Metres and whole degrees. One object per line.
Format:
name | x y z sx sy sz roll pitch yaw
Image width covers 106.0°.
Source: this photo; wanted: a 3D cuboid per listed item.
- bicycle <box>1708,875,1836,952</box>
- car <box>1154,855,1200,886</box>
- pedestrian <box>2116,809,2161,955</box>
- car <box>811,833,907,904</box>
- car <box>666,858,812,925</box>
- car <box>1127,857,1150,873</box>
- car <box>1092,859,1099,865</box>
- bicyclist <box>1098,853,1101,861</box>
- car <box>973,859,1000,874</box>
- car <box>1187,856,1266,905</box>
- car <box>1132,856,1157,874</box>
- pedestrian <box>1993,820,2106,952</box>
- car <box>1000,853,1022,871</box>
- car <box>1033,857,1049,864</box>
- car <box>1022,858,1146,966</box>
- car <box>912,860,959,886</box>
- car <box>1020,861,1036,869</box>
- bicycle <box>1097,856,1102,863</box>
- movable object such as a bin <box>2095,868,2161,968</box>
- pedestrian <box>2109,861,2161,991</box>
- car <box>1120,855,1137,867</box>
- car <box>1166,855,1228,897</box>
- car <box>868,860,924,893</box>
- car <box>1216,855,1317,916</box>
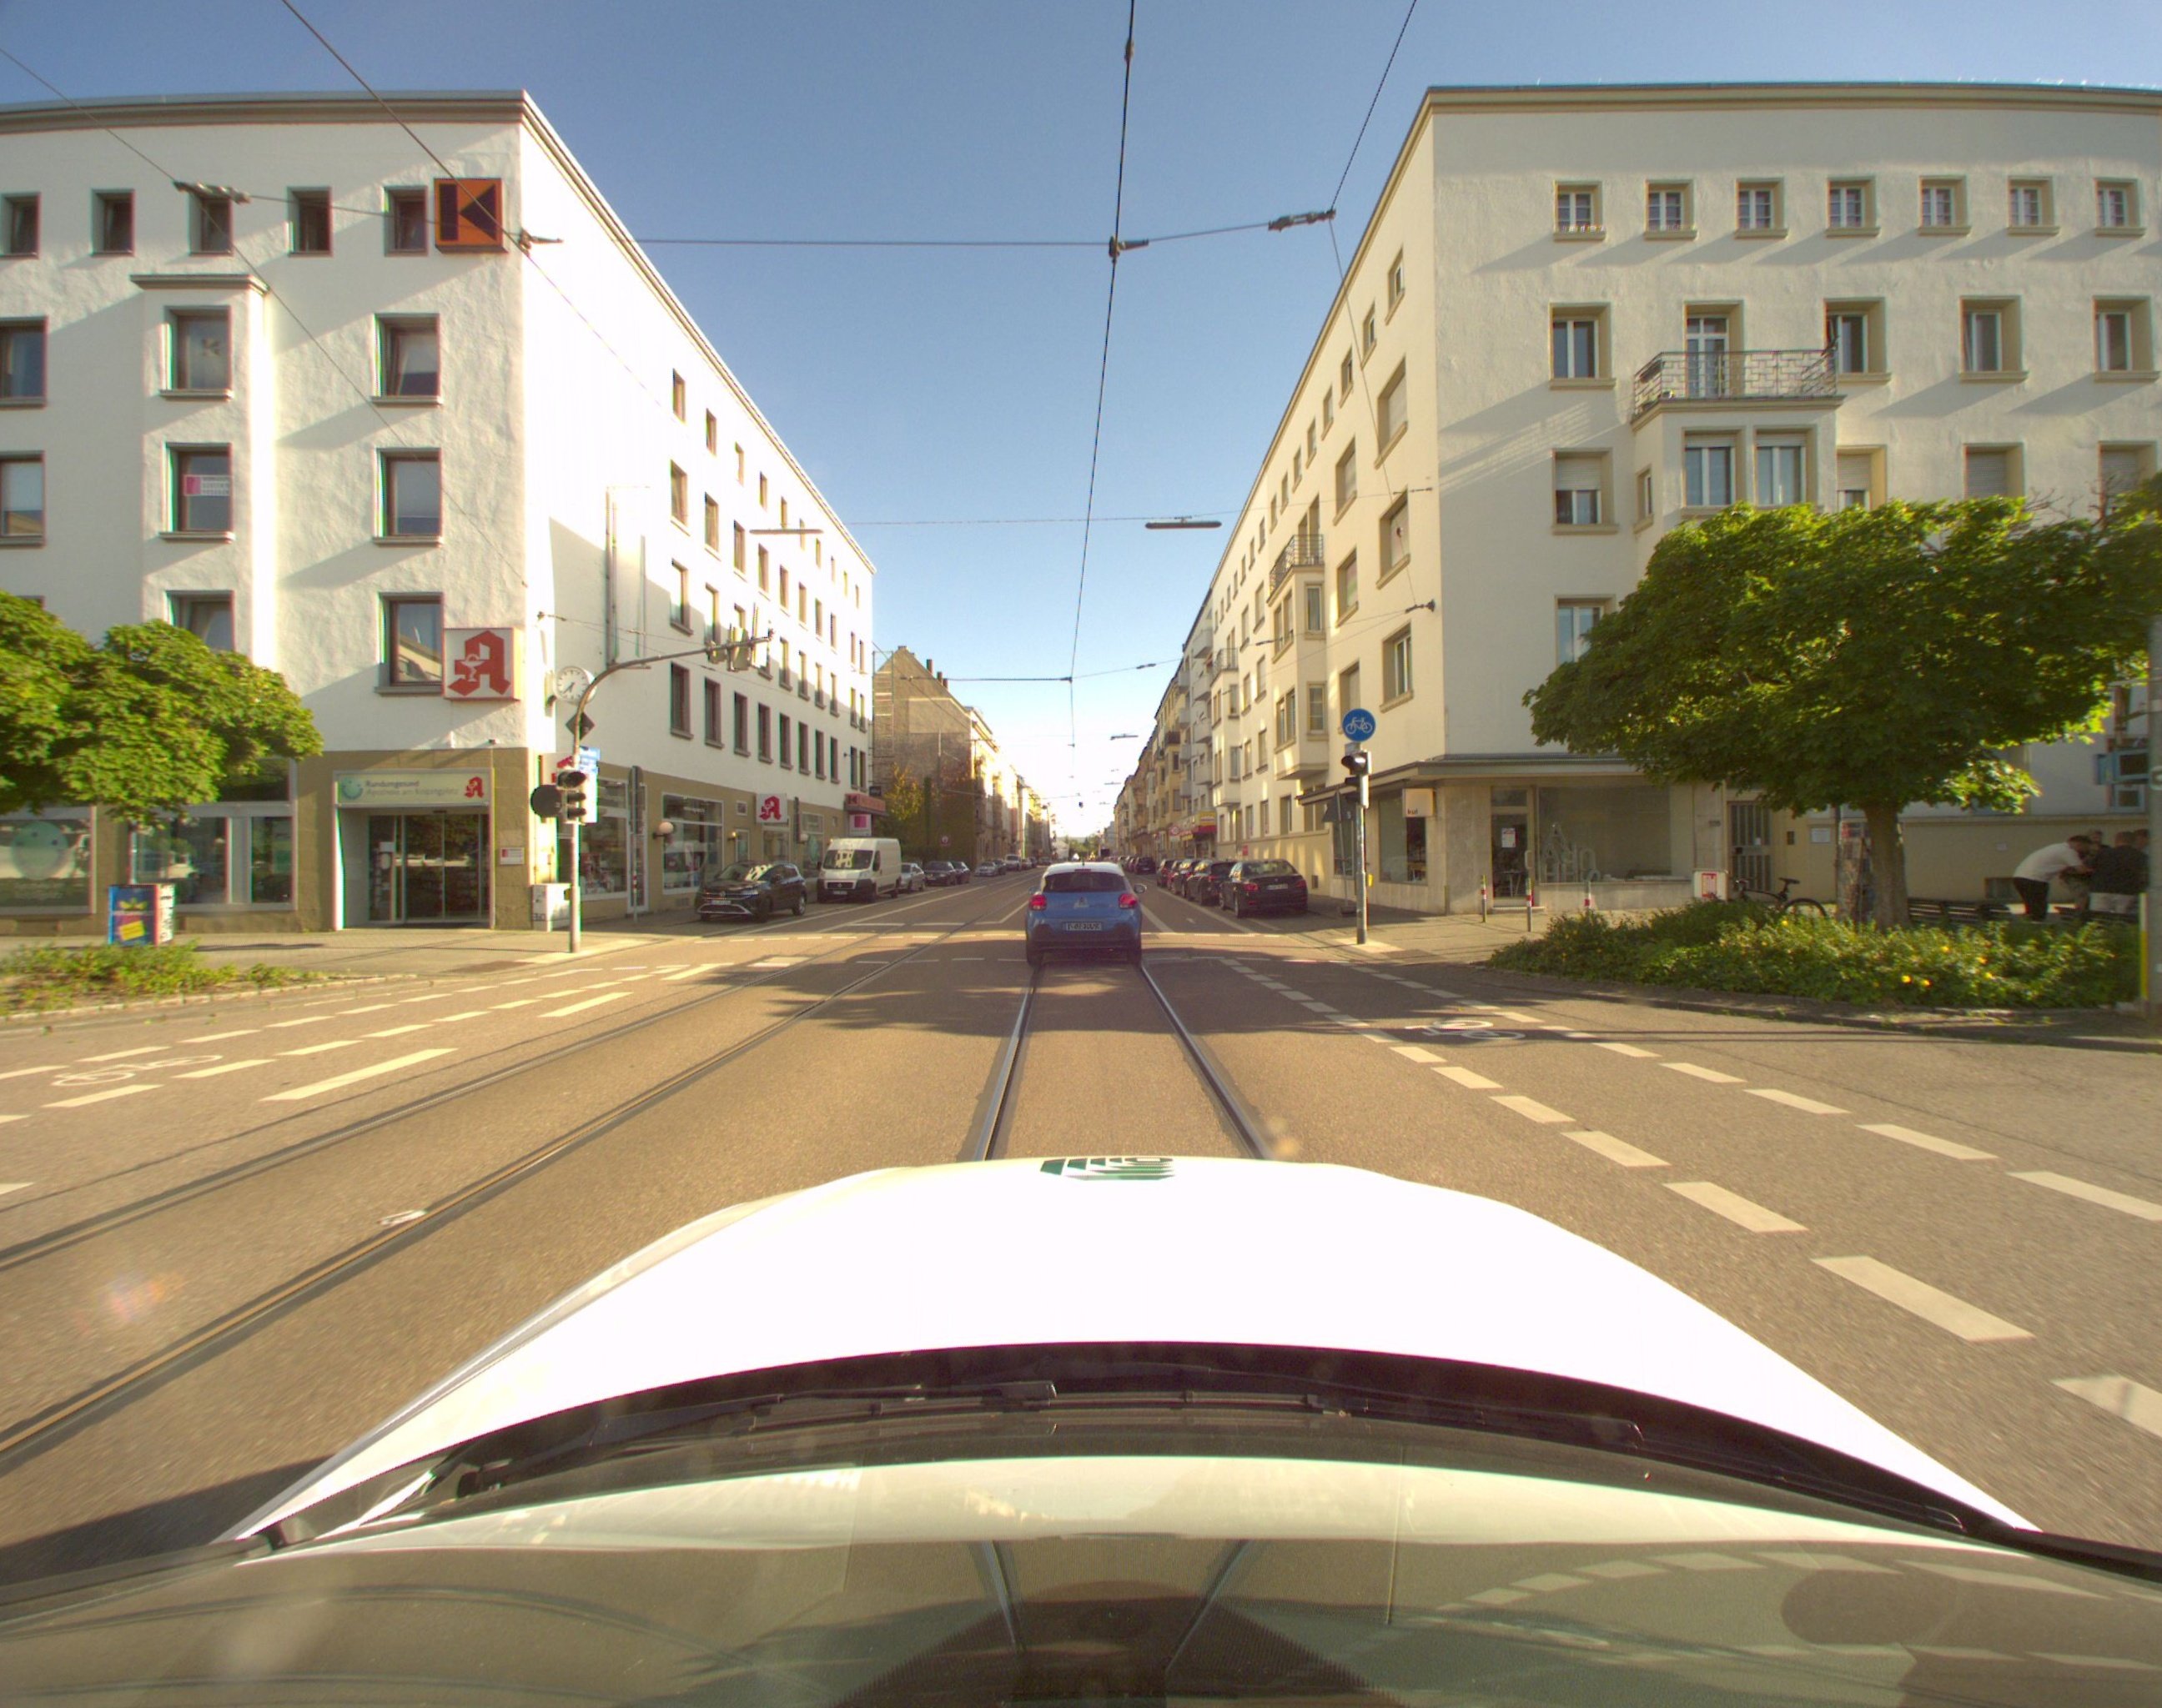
bicycle | 10.280 0.879 12.139 1.559 1.120 0.300 0 -1 5
car | 4.948 0.830 42.514 1.986 1.464 4.001 -1 0 2
pedestrian | 13.963 0.350 10.384 0.650 1.839 0.660 -1 -1 4
car | -8.603 0.521 32.271 2.079 2.542 6.204 0 0 0
car | -8.993 0.937 21.907 1.987 1.569 4.402 2 -1 0
car | 5.560 1.066 79.262 1.986 1.464 4.001 -1 0 2
car | 4.424 2.462 252.199 1.986 1.772 4.000 -1 0 1
bicyclist | 4.278 0.706 190.191 0.807 2.014 0.922 0 -1 0
car | -8.435 1.087 72.859 1.987 1.325 3.922 0 -1 0
car | 4.748 0.833 27.126 1.986 1.464 4.001 -1 0 2
car | 5.548 0.969 71.488 1.986 1.464 4.506 -1 0 2
pedestrian | 14.023 0.450 11.809 0.781 1.839 0.679 -1 -1 4
car | -8.284 0.962 96.456 1.998 2.014 4.692 0 -1 3
car | -7.590 1.195 154.541 1.981 1.156 4.527 -1 0 10
car | 0.069 0.811 13.190 1.722 1.482 3.827 0 0 1
car | -8.452 1.093 47.713 1.987 1.398 4.156 -1 -1 0
car | -7.999 1.703 123.634 1.986 1.156 4.001 -1 0 2
bicycle | 4.329 1.278 189.936 0.917 1.389 3.129 -1 0 -2
movable object such as a bin | 13.227 0.747 9.532 1.194 1.153 1.218 -1 0 1
pedestrian | 11.394 0.728 8.408 0.733 1.316 0.631 -1 -1 24
car | 5.979 0.856 102.632 1.986 1.464 4.001 -1 0 2
car | 4.489 0.822 32.109 1.986 1.501 4.001 -1 0 2
car | -8.770 1.045 38.917 1.882 1.496 3.561 0 -1 0
car | 4.901 0.791 22.070 1.902 1.464 4.001 -1 0 2
